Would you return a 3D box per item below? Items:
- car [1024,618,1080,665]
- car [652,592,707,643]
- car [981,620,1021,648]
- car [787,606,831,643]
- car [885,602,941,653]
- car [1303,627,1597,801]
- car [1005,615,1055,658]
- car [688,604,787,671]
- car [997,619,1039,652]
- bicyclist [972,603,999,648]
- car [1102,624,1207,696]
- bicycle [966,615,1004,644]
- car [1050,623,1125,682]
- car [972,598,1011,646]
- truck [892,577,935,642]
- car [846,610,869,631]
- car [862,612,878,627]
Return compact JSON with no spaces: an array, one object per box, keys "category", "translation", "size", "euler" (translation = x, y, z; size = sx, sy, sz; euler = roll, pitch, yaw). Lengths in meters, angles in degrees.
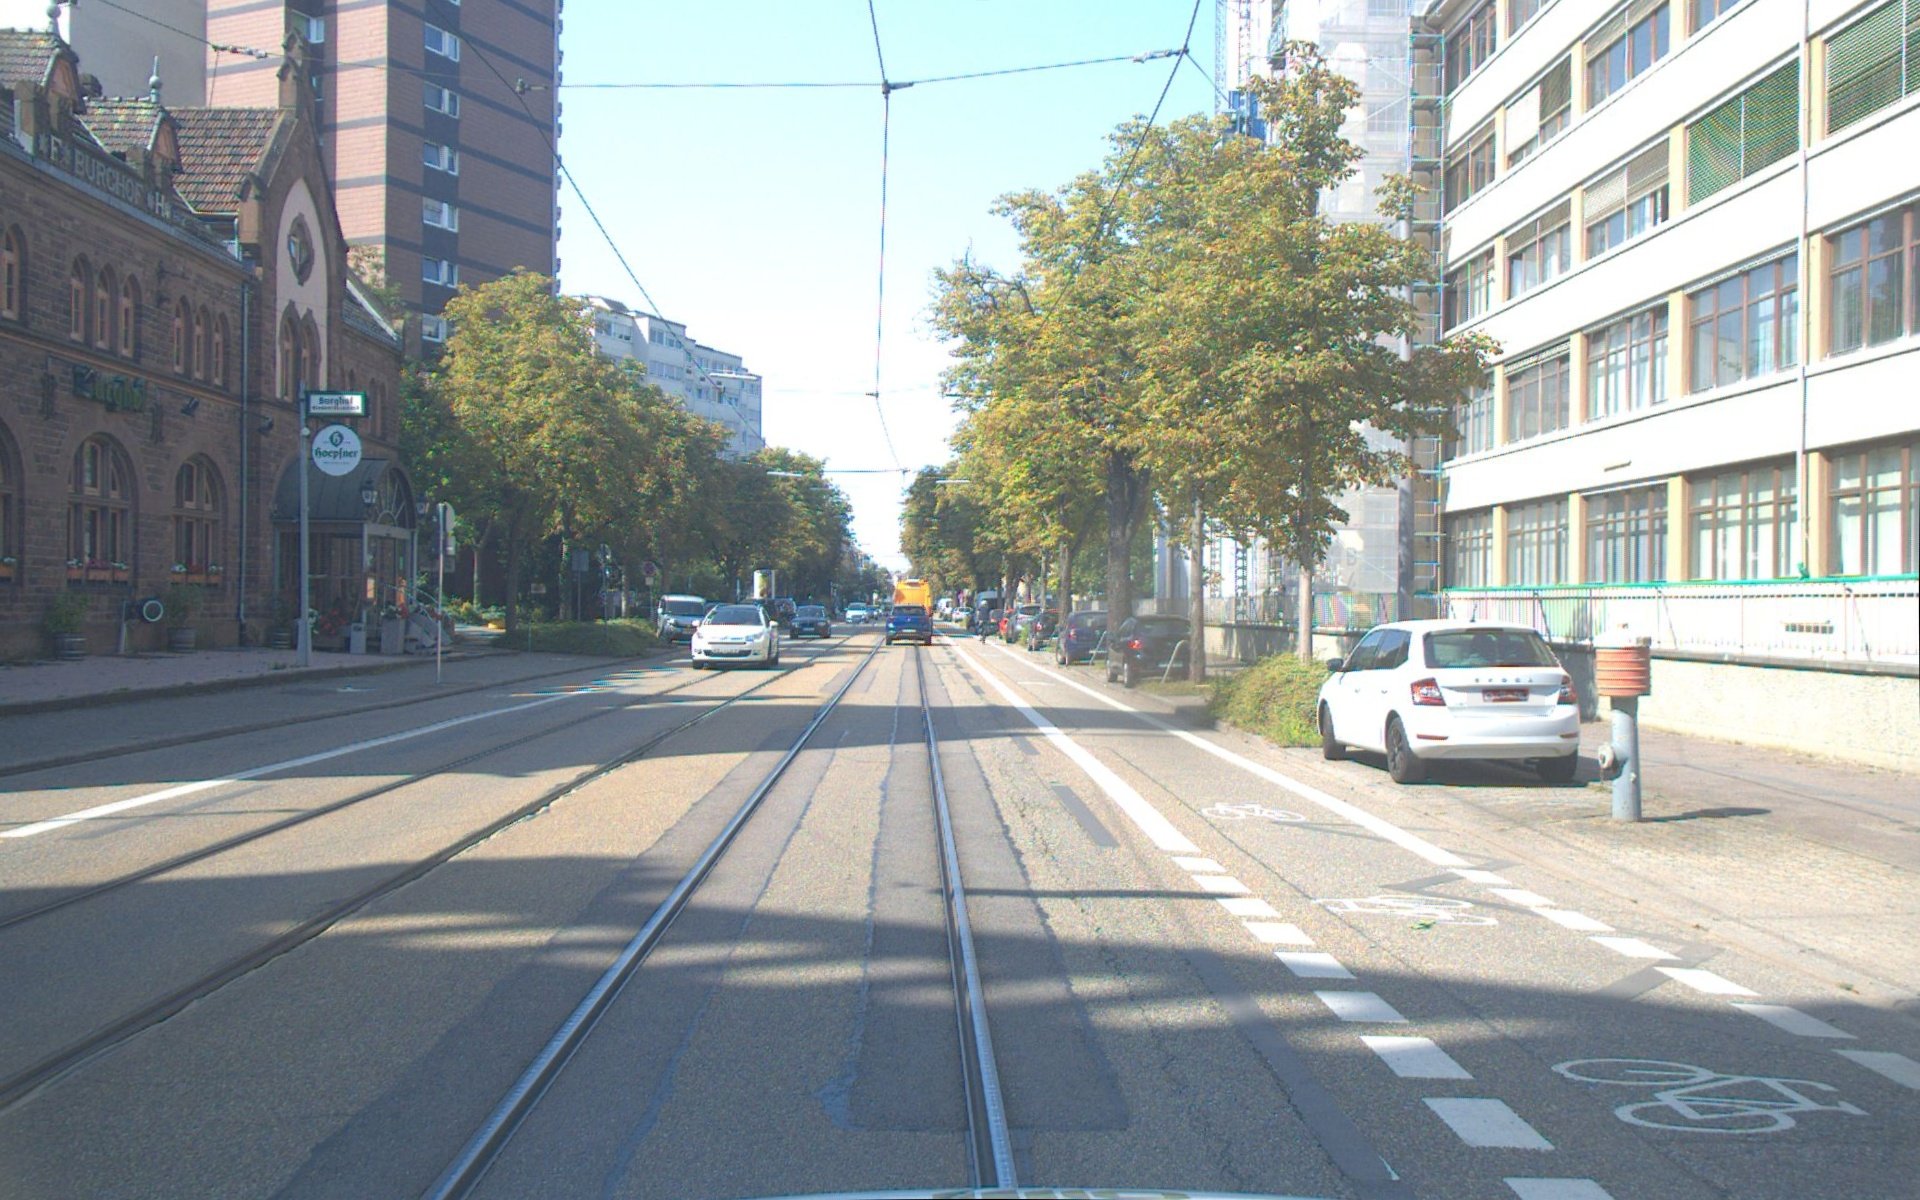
[{"category":"car","translation":[3.284,1.467,59.631],"size":[1.601,1.613,4.186],"euler":[1,-1,-3]},{"category":"car","translation":[-10.705,0.658,62.997],"size":[1.718,1.828,3.984],"euler":[1,-1,-15]},{"category":"car","translation":[2.187,1.854,90.212],"size":[1.870,1.457,4.290],"euler":[1,-1,-3]},{"category":"car","translation":[-6.749,1.076,74.296],"size":[1.647,1.599,4.204],"euler":[1,-1,-1]},{"category":"car","translation":[-1.814,1.066,64.553],"size":[2.092,1.891,5.566],"euler":[0,-1,-2]},{"category":"car","translation":[4.741,1.037,16.644],"size":[1.625,1.507,4.215],"euler":[0,-1,-1]},{"category":"car","translation":[2.911,1.505,69.715],"size":[1.705,1.697,4.359],"euler":[1,-1,-3]},{"category":"car","translation":[-5.336,0.886,40.214],"size":[1.809,1.518,4.866],"euler":[1,-1,-1]},{"category":"car","translation":[2.794,1.697,80.092],"size":[1.705,1.488,3.682],"euler":[1,-1,-3]},{"category":"bicyclist","translation":[1.048,1.040,68.216],"size":[1.011,1.844,1.016],"euler":[1,-1,-2]},{"category":"car","translation":[4.054,1.222,35.005],"size":[1.625,1.432,4.215],"euler":[0,-1,-1]},{"category":"bicycle","translation":[1.009,1.205,68.238],"size":[1.373,1.154,3.998],"euler":[1,-1,-2]},{"category":"car","translation":[3.539,1.436,46.538],"size":[1.707,1.583,4.215],"euler":[0,-1,-1]},{"category":"car","translation":[1.881,1.333,100.804],"size":[1.954,2.804,5.757],"euler":[1,-1,-3]},{"category":"truck","translation":[-2.363,0.502,83.651],"size":[2.092,3.179,6.082],"euler":[0,-1,-2]},{"category":"car","translation":[-8.460,1.714,136.825],"size":[1.744,1.713,4.344],"euler":[1,-1,-3]},{"category":"car","translation":[-9.364,2.030,172.953],"size":[1.601,1.613,4.186],"euler":[1,-1,-3]}]
